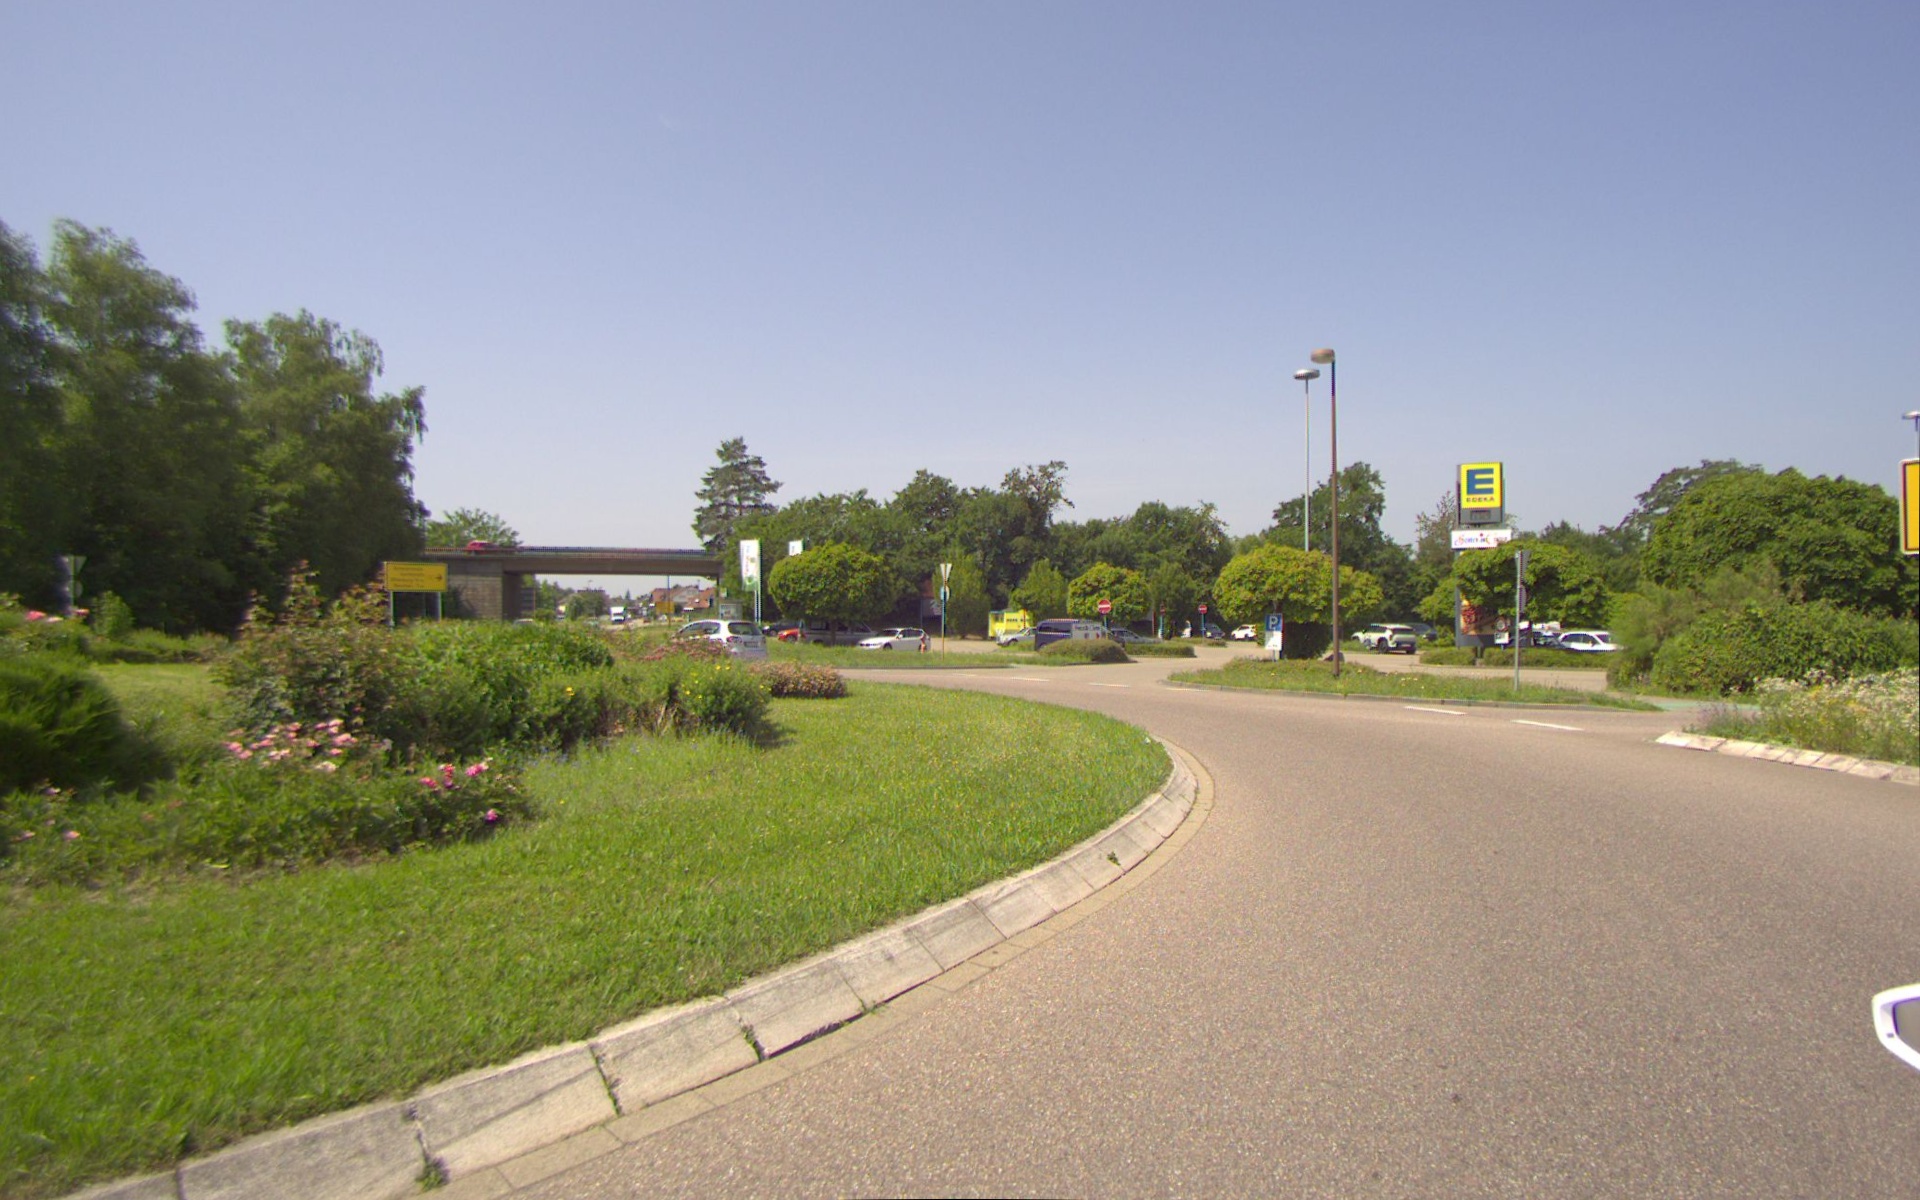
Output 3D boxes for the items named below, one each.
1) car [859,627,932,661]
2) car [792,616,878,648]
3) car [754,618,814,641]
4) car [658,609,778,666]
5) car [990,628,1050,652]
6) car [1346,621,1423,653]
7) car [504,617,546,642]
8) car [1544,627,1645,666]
[{"bbox_3d":[-3.220,2.206,51.208,1.556,1.517,4.559,2,0,27],"label":"car"},{"bbox_3d":[-6.775,1.715,54.433,4.338,1.582,1.868,1,0,-19],"label":"car"},{"bbox_3d":[-14.079,2.366,80.455,4.561,1.674,2.022,1,1,-16],"label":"car"},{"bbox_3d":[-7.701,1.131,31.780,3.942,1.573,1.782,2,1,42],"label":"car"},{"bbox_3d":[3.755,2.501,63.327,3.416,1.399,1.599,1,0,-14],"label":"car"},{"bbox_3d":[23.193,2.007,55.027,1.944,1.537,3.990,1,0,-12],"label":"car"},{"bbox_3d":[-32.056,2.162,74.069,1.994,1.674,4.626,1,1,-13],"label":"car"},{"bbox_3d":[28.301,2.036,44.976,1.961,1.595,4.000,1,-1,0],"label":"car"}]
